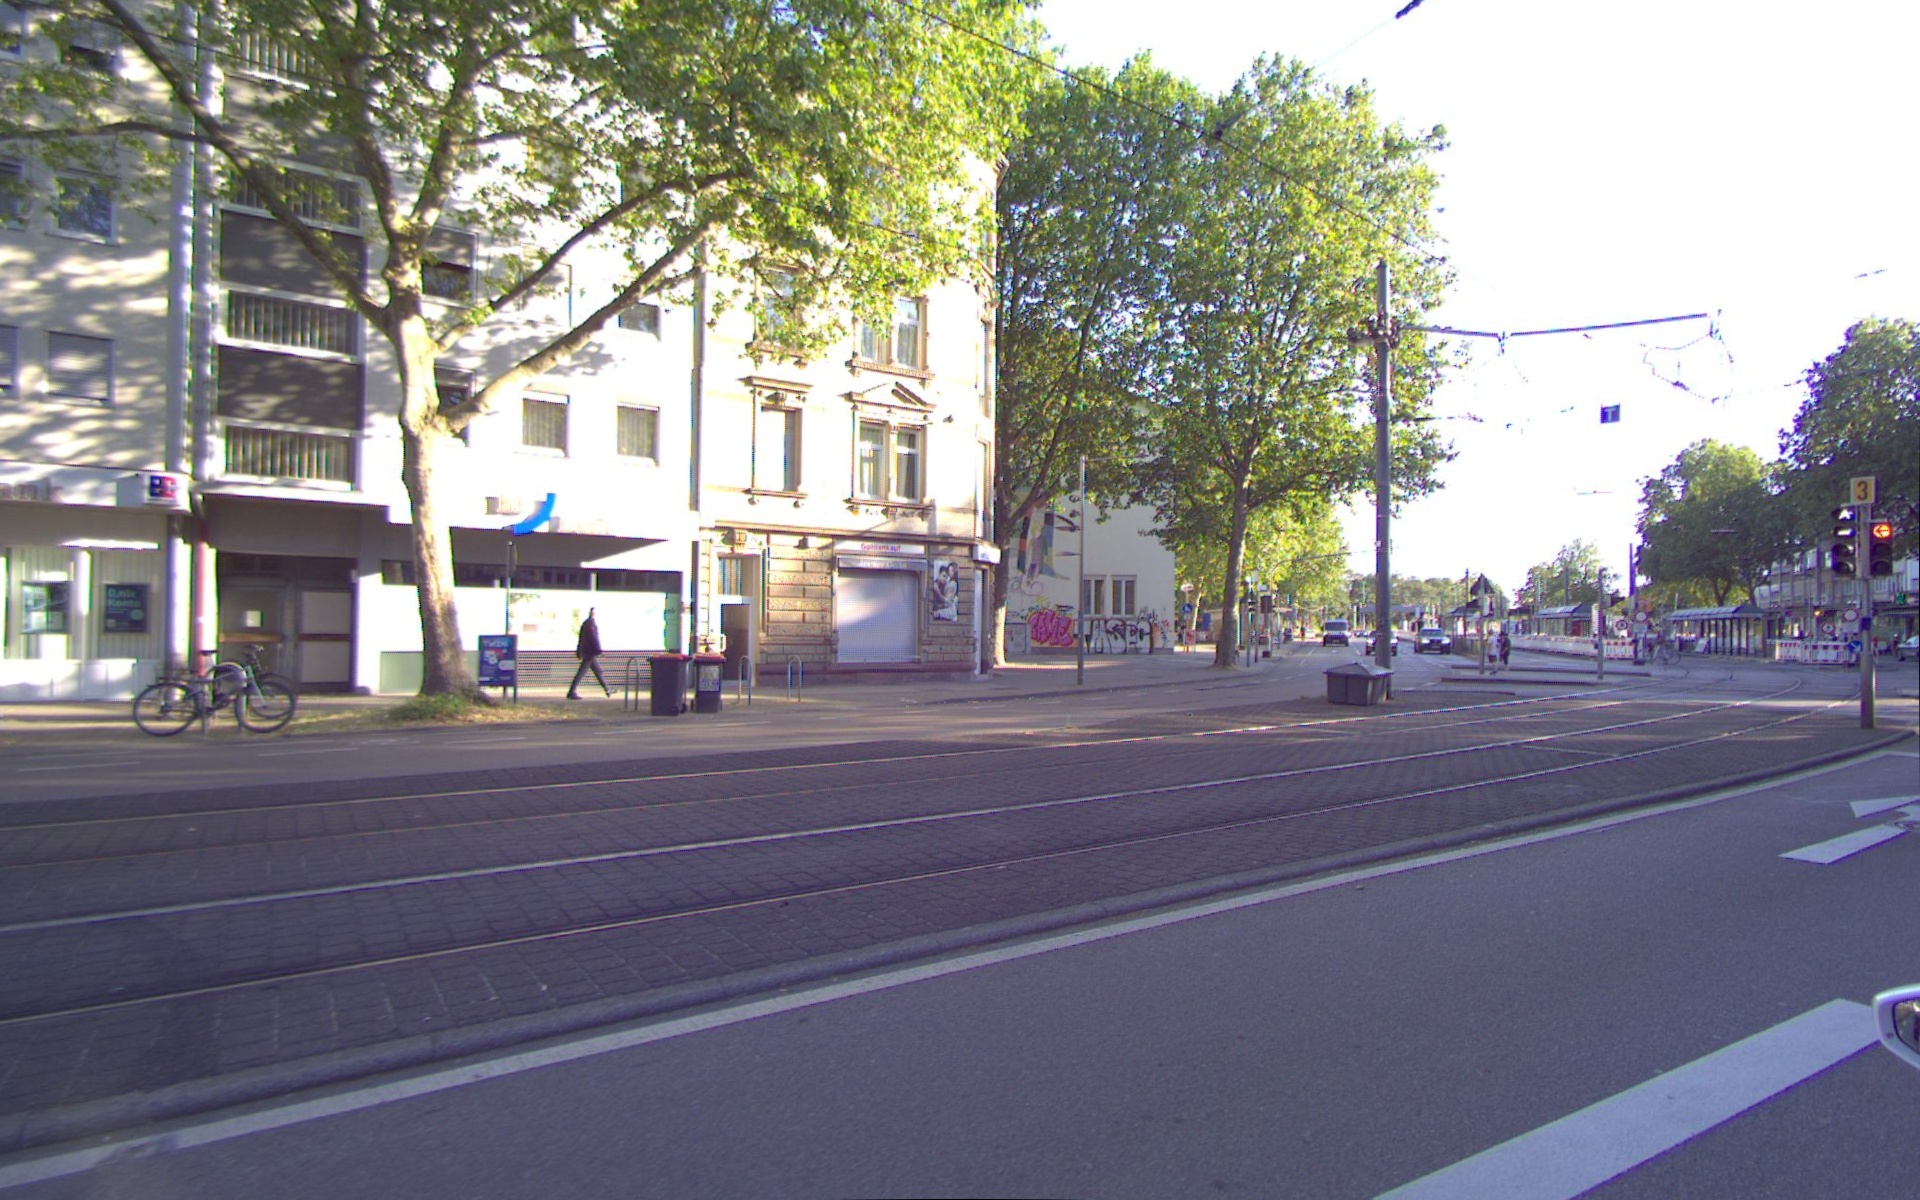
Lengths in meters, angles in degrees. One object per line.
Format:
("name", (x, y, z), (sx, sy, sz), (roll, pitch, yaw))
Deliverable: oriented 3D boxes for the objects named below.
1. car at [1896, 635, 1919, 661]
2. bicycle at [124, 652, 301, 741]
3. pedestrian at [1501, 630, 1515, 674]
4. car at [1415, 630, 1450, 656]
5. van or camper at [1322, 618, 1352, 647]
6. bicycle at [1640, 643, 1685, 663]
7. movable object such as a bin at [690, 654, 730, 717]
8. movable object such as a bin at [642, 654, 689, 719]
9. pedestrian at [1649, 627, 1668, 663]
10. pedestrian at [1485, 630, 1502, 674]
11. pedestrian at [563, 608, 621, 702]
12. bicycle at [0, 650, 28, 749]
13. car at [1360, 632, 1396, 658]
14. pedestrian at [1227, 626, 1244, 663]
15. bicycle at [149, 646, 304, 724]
("car", (57.955, 2.839, 60.151), (1.636, 1.488, 3.411), (-3, -3, 23))
("bicycle", (-10.220, 1.296, 13.812), (1.890, 1.139, 0.505), (2, -1, -33))
("pedestrian", (19.138, 1.819, 35.098), (0.402, 1.524, 0.516), (0, -1, 27))
("car", (30.577, 2.729, 65.031), (1.855, 1.606, 4.205), (0, -2, 23))
("van or camper", (31.990, 2.763, 85.181), (2.133, 2.349, 5.102), (-2, -3, 23))
("bicycle", (35.458, 2.666, 50.730), (1.810, 0.955, 0.463), (0, -1, 20))
("movable object such as a bin", (-4.555, 1.550, 18.313), (0.562, 1.108, 0.477), (0, -1, 6))
("movable object such as a bin", (-5.182, 1.513, 17.710), (0.634, 1.108, 0.546), (0, -1, 6))
("pedestrian", (35.047, 2.255, 50.409), (0.708, 1.748, 0.399), (0, -1, 19))
("pedestrian", (18.556, 1.808, 34.961), (0.512, 1.524, 0.593), (0, -1, 27))
("pedestrian", (-7.352, 1.083, 20.053), (0.959, 1.811, 0.616), (1, 0, -29))
("bicycle", (-12.423, 1.237, 12.725), (0.646, 1.139, 1.881), (1, -1, -35))
("car", (25.096, 2.677, 60.278), (1.856, 1.492, 4.204), (0, -2, 25))
("pedestrian", (12.885, 2.082, 47.026), (0.663, 1.733, 0.431), (2, 0, 3))
("bicycle", (-11.346, 1.299, 15.622), (1.890, 1.139, 0.505), (2, -1, -33))
